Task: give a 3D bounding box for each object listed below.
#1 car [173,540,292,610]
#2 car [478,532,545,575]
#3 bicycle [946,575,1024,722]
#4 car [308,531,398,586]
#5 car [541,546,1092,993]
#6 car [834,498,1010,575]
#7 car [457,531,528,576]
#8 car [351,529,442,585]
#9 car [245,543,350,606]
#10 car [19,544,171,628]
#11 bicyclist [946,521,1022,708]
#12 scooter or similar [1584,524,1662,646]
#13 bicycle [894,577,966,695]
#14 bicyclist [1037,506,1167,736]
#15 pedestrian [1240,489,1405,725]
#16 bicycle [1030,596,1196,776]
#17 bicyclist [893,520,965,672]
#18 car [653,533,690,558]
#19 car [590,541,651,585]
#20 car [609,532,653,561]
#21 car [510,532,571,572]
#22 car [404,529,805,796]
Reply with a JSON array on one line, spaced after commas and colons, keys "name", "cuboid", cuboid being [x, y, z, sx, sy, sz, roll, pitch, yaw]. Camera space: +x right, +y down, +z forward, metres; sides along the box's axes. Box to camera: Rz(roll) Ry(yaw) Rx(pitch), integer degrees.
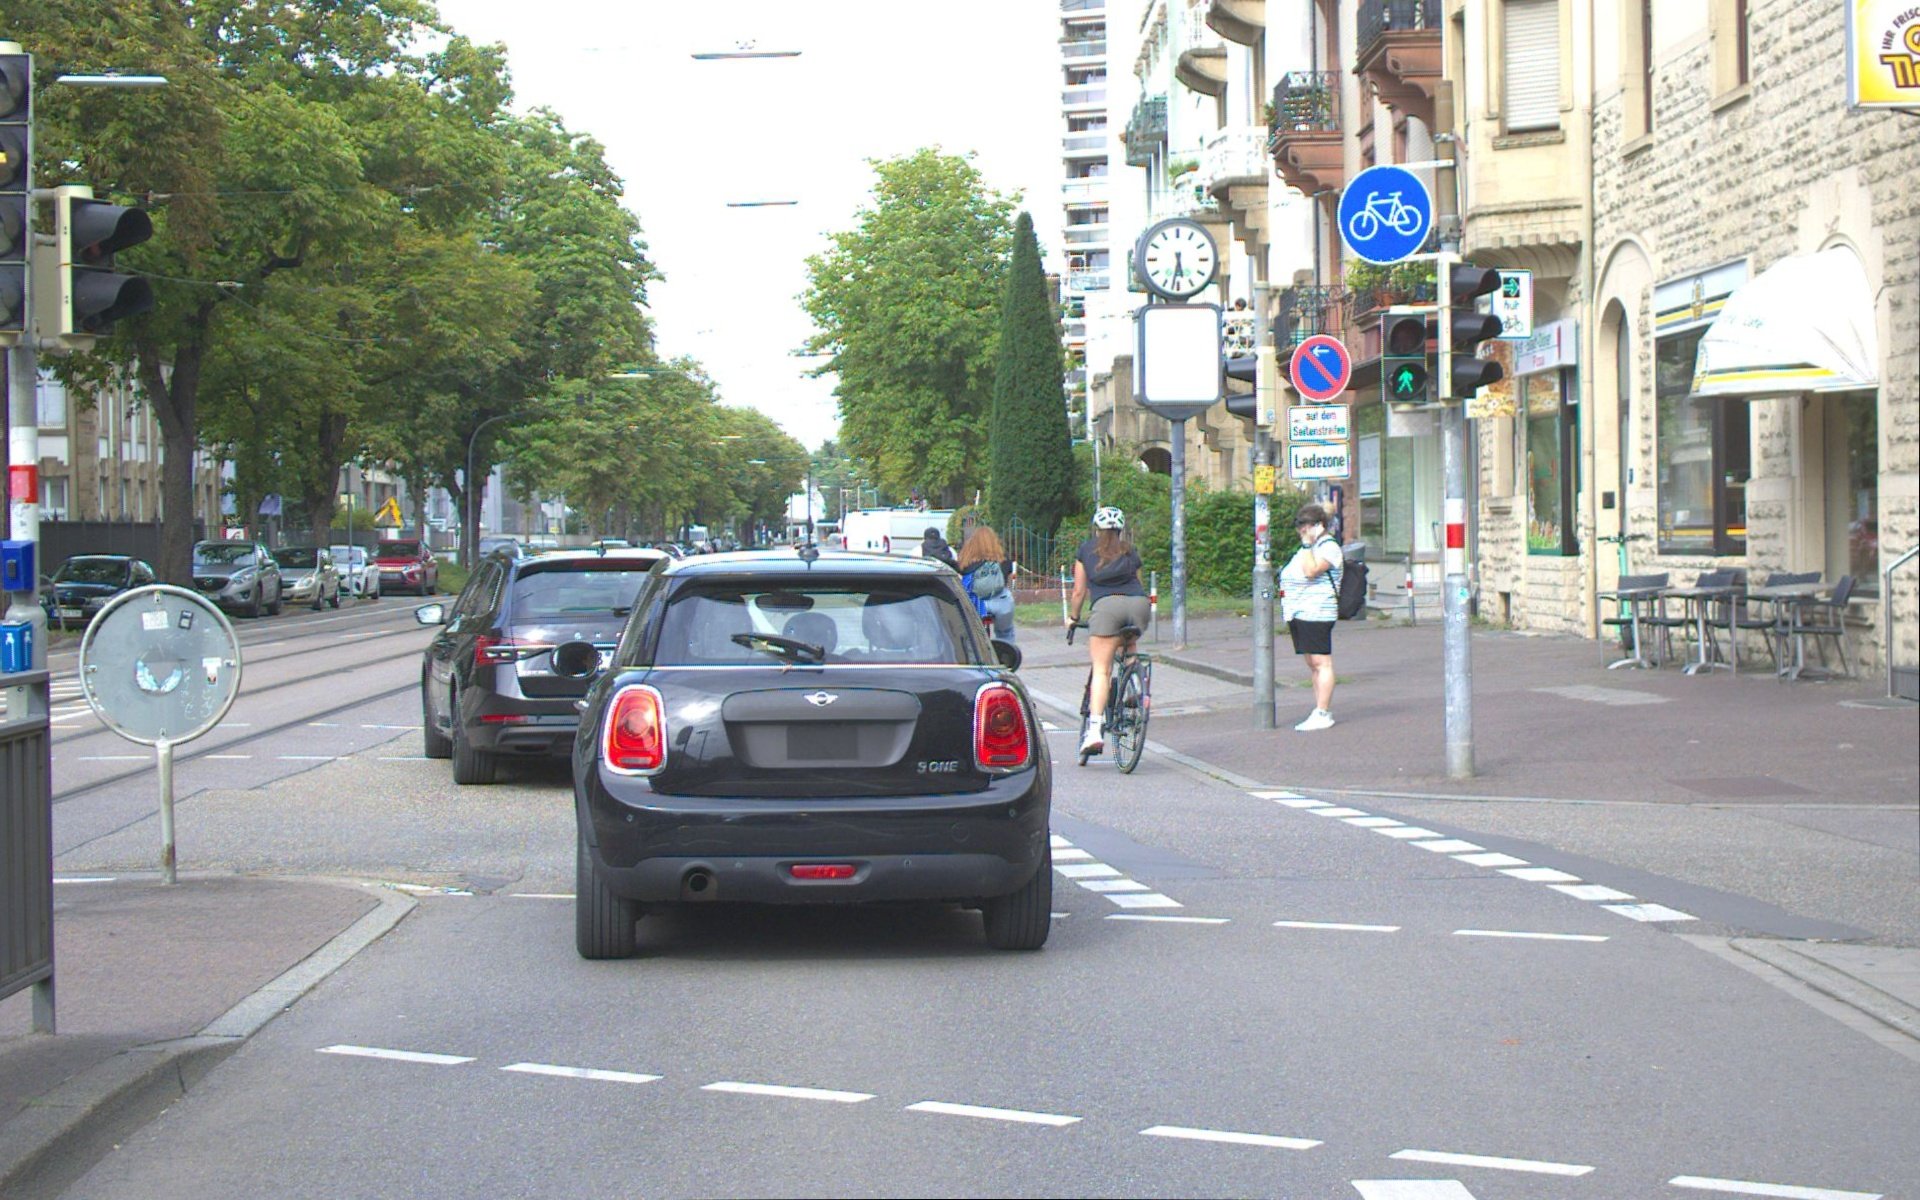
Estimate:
[{"name": "car", "cuboid": [-15.497, -0.553, 73.424, 1.767, 1.390, 4.000, -1, 1, -2]}, {"name": "car", "cuboid": [-16.850, -1.776, 129.300, 1.993, 1.546, 4.000, -1, 1, 0]}, {"name": "bicycle", "cuboid": [0.204, 0.397, 29.189, 0.598, 1.166, 1.697, -1, 1, -1]}, {"name": "car", "cuboid": [-16.183, -1.112, 91.736, 1.767, 1.390, 4.000, -1, 1, -2]}, {"name": "car", "cuboid": [-0.712, 0.530, 13.513, 1.751, 1.436, 4.001, -1, 1, -8]}, {"name": "car", "cuboid": [-1.140, -1.956, 105.756, 5.025, 2.265, 2.396, -2, 2, -41]}, {"name": "car", "cuboid": [-16.720, -1.670, 123.102, 1.993, 1.546, 4.000, -1, 1, 0]}, {"name": "car", "cuboid": [-16.387, -1.264, 100.134, 1.993, 1.546, 4.000, -1, 1, 0]}, {"name": "car", "cuboid": [-15.596, -0.620, 81.098, 1.767, 1.390, 4.000, -1, 1, -2]}, {"name": "car", "cuboid": [-15.401, -0.281, 61.400, 1.767, 1.390, 4.000, -1, 1, -2]}, {"name": "bicyclist", "cuboid": [0.200, 0.112, 29.179, 0.594, 1.545, 1.014, -1, 1, -1]}, {"name": "scooter or similar", "cuboid": [6.633, -0.165, 34.424, 0.508, 1.184, 1.262, -1, 1, -1]}, {"name": "bicycle", "cuboid": [-0.307, 0.367, 36.153, 0.684, 1.166, 1.697, -1, 1, 1]}, {"name": "bicyclist", "cuboid": [0.926, 0.124, 22.629, 0.614, 1.467, 0.915, -2, 1, -12]}, {"name": "pedestrian", "cuboid": [2.689, 0.051, 25.488, 0.833, 1.668, 0.732, -6, 2, -44]}, {"name": "bicycle", "cuboid": [0.979, 0.535, 22.427, 0.614, 1.073, 1.821, -2, 2, -12]}, {"name": "bicyclist", "cuboid": [-0.319, -0.050, 36.113, 0.684, 1.558, 0.998, -1, 1, 1]}, {"name": "car", "cuboid": [-18.092, -3.437, 215.938, 1.993, 1.546, 4.000, -1, 1, 0]}, {"name": "car", "cuboid": [-11.424, -1.250, 115.881, 1.767, 1.390, 4.000, -1, 1, -2]}, {"name": "car", "cuboid": [-17.790, -2.904, 186.018, 1.993, 1.546, 4.000, -1, 1, 0]}, {"name": "car", "cuboid": [-16.983, -1.958, 139.333, 1.993, 1.546, 4.000, -1, 1, 0]}, {"name": "car", "cuboid": [-2.380, 0.323, 22.045, 1.926, 1.504, 4.001, -1, 1, -15]}]
